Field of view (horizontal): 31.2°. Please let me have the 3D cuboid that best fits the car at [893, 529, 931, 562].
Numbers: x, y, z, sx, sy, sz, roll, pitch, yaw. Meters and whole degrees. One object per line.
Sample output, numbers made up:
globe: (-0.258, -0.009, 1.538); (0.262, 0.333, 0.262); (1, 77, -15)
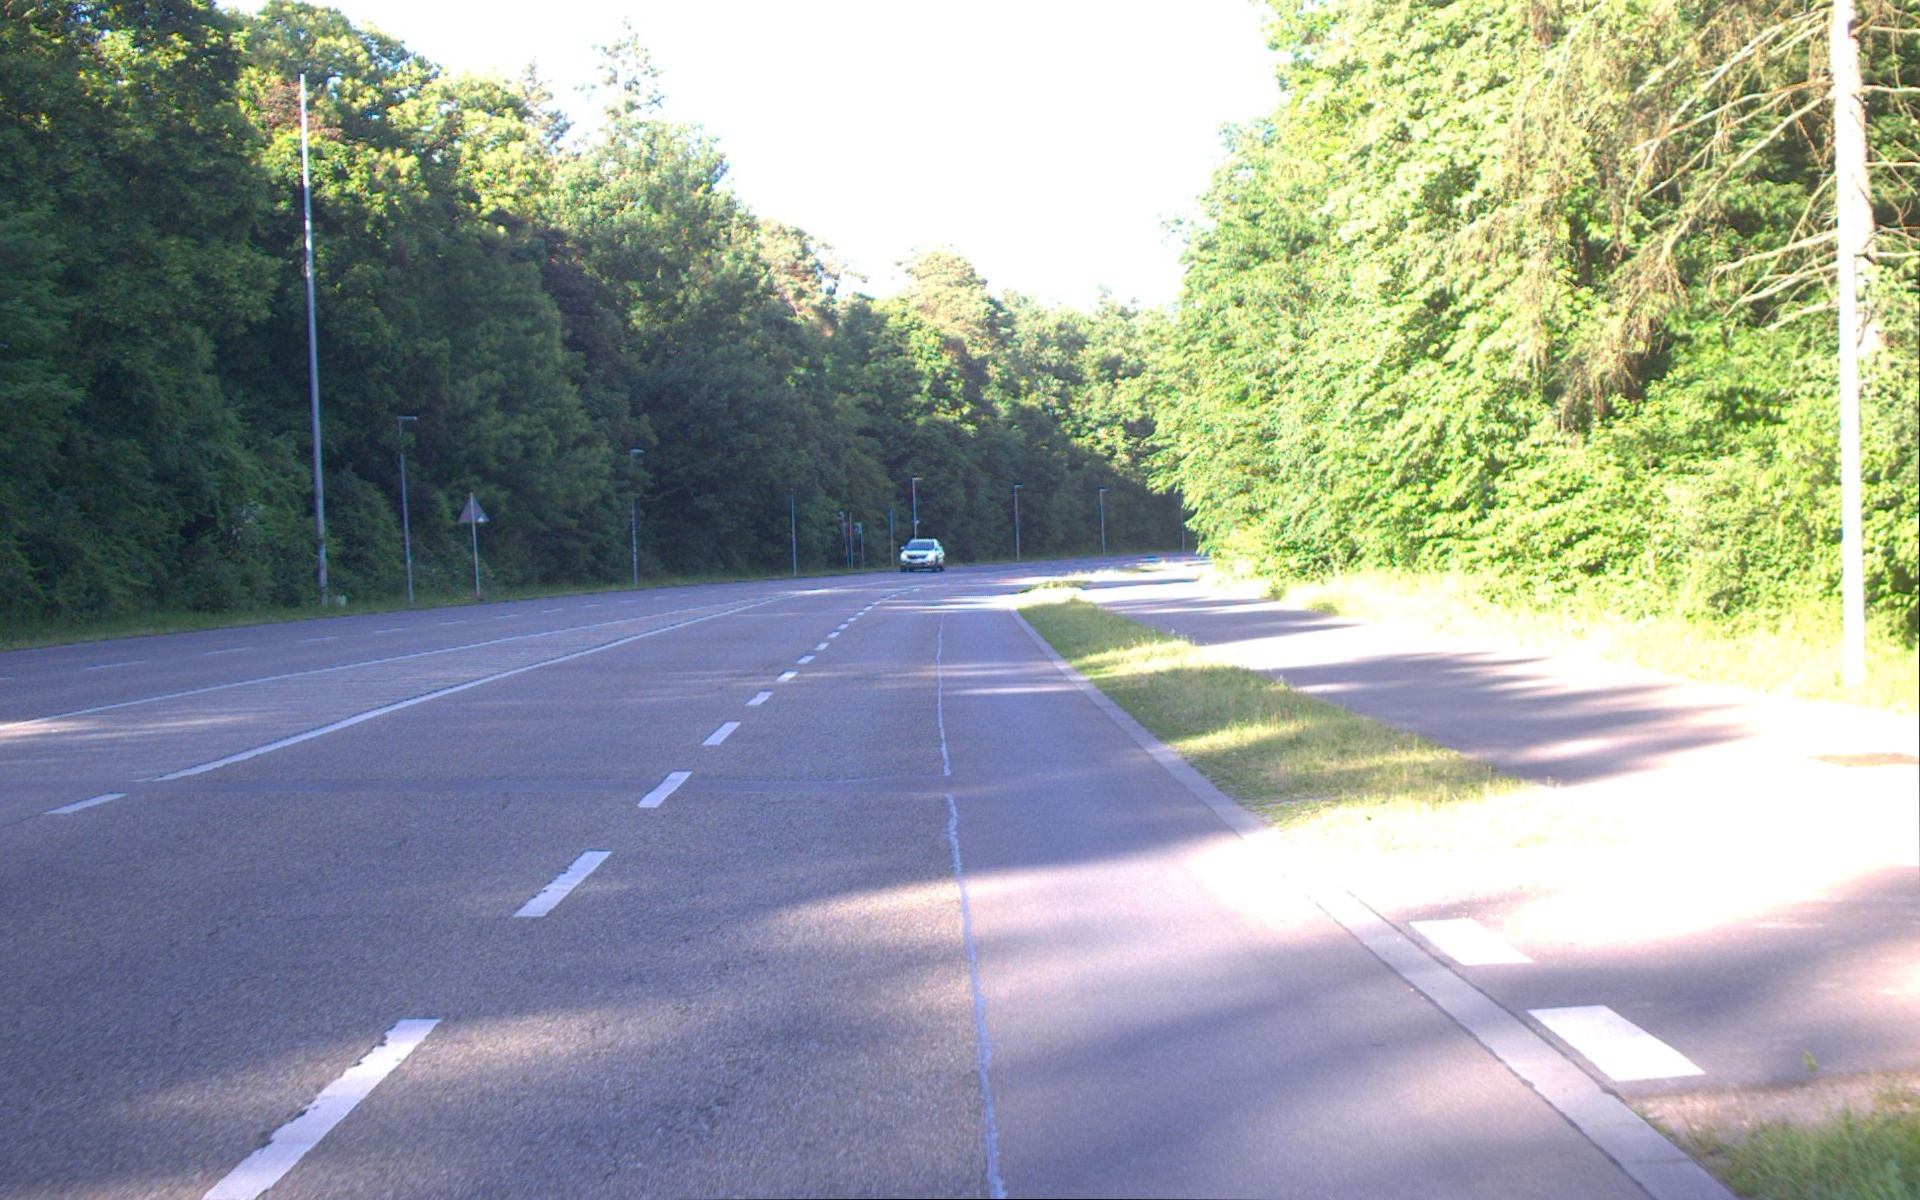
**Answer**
car: (-2.438, -2.765, 175.385); (1.908, 1.658, 4.734); (0, 1, 0)
